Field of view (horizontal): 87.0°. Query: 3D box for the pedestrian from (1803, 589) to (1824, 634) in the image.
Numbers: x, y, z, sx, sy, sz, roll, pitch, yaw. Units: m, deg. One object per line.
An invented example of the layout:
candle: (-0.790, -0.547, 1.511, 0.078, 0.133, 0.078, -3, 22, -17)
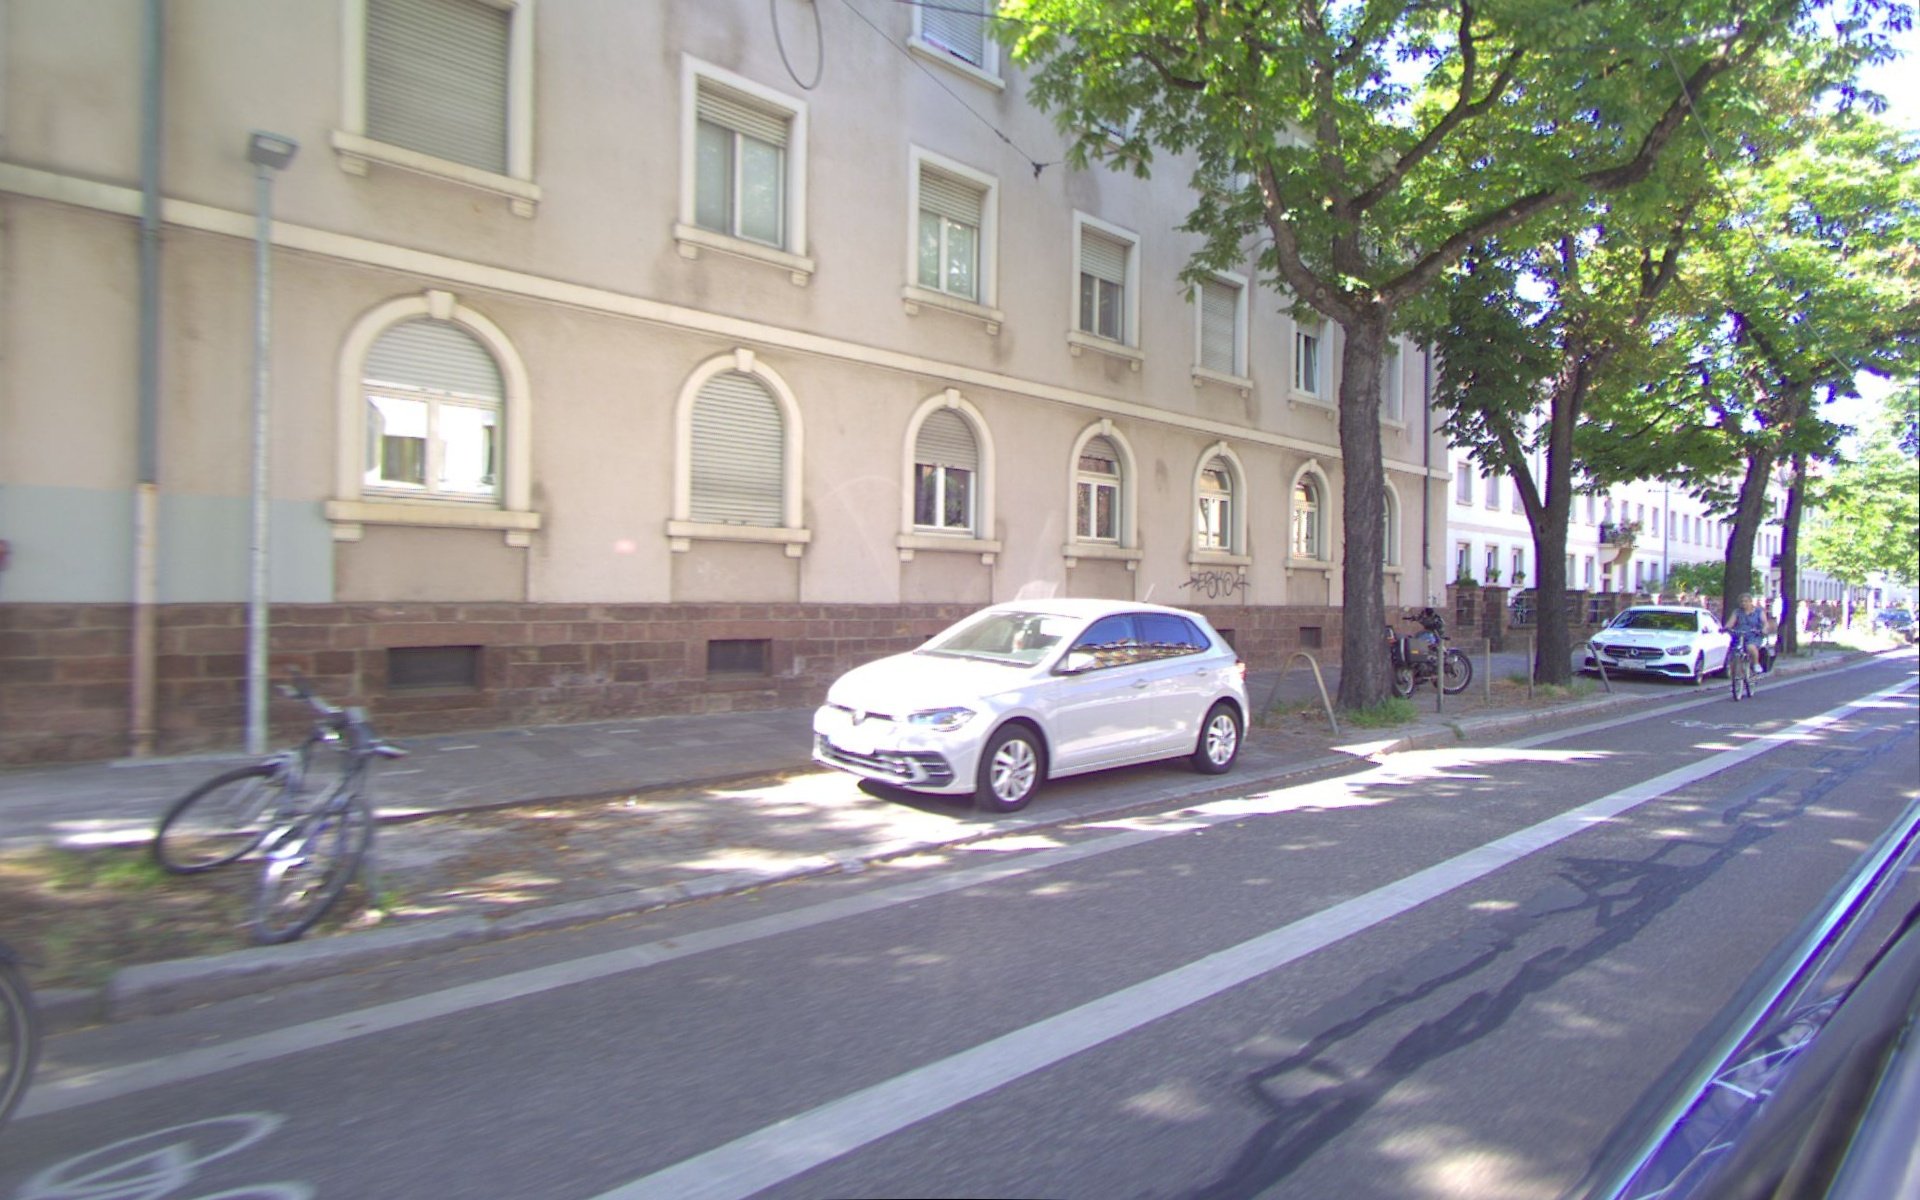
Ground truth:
pedestrian: (39.638, 0.530, 47.011, 0.740, 2.039, 0.678, 1, 0, 41)

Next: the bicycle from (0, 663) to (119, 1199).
bicycle: (-3.036, 0.812, 2.025, 2.059, 1.258, 0.762, 0, -1, -41)

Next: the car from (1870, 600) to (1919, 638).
car: (39.737, 0.765, 42.623, 4.537, 1.485, 1.758, 0, 2, -44)

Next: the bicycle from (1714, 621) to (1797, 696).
bicycle: (12.856, 0.906, 16.334, 2.024, 1.100, 0.775, 0, 0, -44)

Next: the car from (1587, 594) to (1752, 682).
car: (14.296, 0.671, 20.280, 4.670, 1.502, 1.821, 0, 2, -44)

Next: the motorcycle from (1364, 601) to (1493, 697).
motorcycle: (6.744, 0.660, 14.502, 2.221, 1.266, 0.763, 0, 1, -39)

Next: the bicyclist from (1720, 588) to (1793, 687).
bicyclist: (12.865, 0.582, 16.337, 1.209, 1.533, 0.775, 0, 0, -44)

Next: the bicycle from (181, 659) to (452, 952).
bicycle: (-3.004, 0.839, 4.664, 1.564, 0.992, 0.631, 3, 1, 41)

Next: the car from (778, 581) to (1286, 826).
car: (0.762, 0.634, 8.282, 4.140, 1.490, 1.704, 0, 2, -41)
